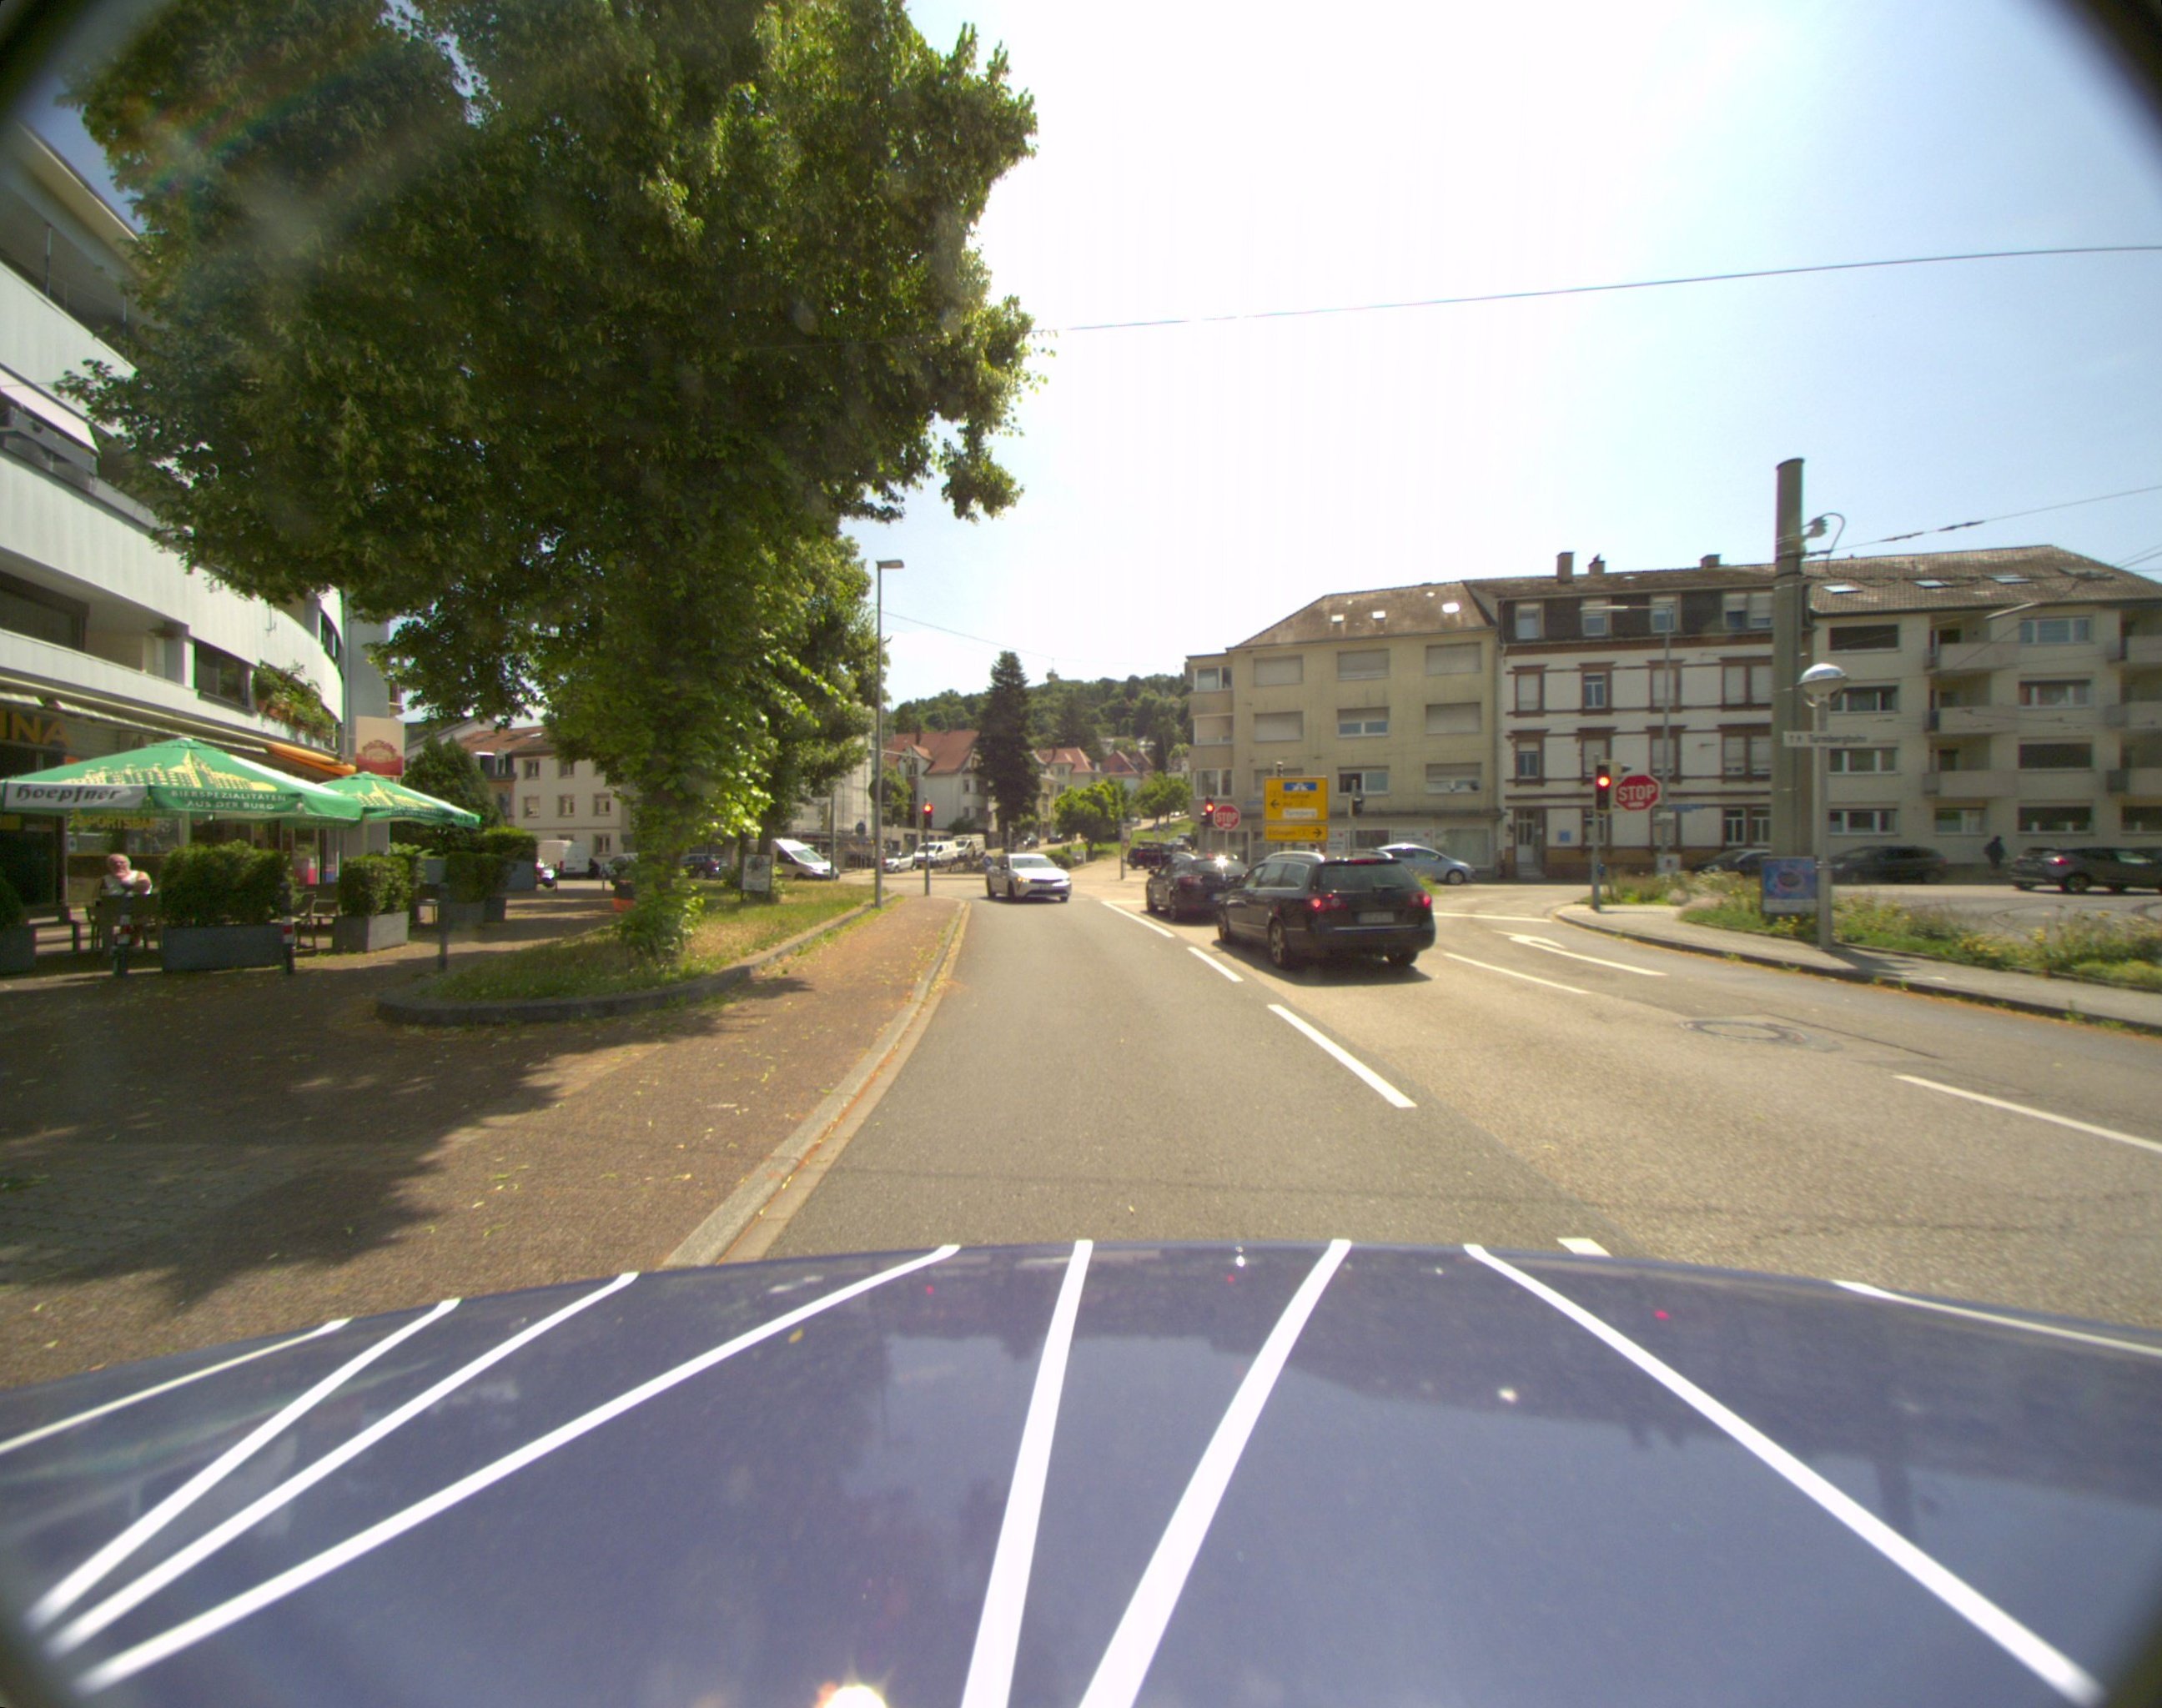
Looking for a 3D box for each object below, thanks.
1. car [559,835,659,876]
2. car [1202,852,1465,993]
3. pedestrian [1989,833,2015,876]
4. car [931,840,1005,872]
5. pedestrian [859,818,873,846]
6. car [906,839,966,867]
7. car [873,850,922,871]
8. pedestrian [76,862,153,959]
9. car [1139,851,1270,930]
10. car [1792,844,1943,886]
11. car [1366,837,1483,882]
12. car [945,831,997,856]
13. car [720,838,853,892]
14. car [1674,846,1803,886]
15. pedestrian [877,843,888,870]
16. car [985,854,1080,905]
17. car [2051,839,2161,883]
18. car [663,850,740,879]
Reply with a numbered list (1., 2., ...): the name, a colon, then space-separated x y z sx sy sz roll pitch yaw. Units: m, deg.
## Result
1. car: -29.754 0.089 47.950 5.433 2.397 2.260 -2 1 17
2. car: 3.212 0.752 10.875 1.841 1.482 4.809 -1 1 -5
3. pedestrian: 39.651 0.013 32.708 0.556 1.846 0.428 -2 2 11
4. car: -7.727 0.075 52.804 2.397 2.002 6.380 -2 1 17
5. pedestrian: -15.489 -1.571 54.703 0.625 2.002 0.706 -2 2 15
6. car: -11.591 -0.110 61.262 2.397 2.002 5.387 -2 1 17
7. car: -13.378 0.475 55.674 1.529 1.361 4.161 -2 1 17
8. pedestrian: -13.299 0.757 10.469 0.605 1.263 0.577 -1 2 40
9. car: 2.674 0.731 17.455 1.842 1.482 4.124 -2 1 -7
10. car: 33.122 0.432 32.126 4.064 1.576 2.001 -2 1 9
11. car: 13.664 0.218 30.436 3.992 1.609 1.761 -2 1 15
12. car: -9.707 -0.956 67.639 2.397 2.002 5.387 -2 1 17
13. car: -13.450 0.481 34.746 5.434 2.258 2.002 -2 1 15
14. car: 28.532 0.507 33.085 3.753 1.576 2.001 -2 1 9
15. pedestrian: -15.203 0.164 58.122 0.706 2.002 0.625 -3 2 -14
16. car: -1.641 0.723 23.897 1.821 1.371 4.384 -1 1 -20
17. car: 42.264 0.261 30.428 4.064 1.576 1.815 -2 1 9
18. car: -22.491 0.627 45.084 3.830 1.521 1.767 -2 1 17
